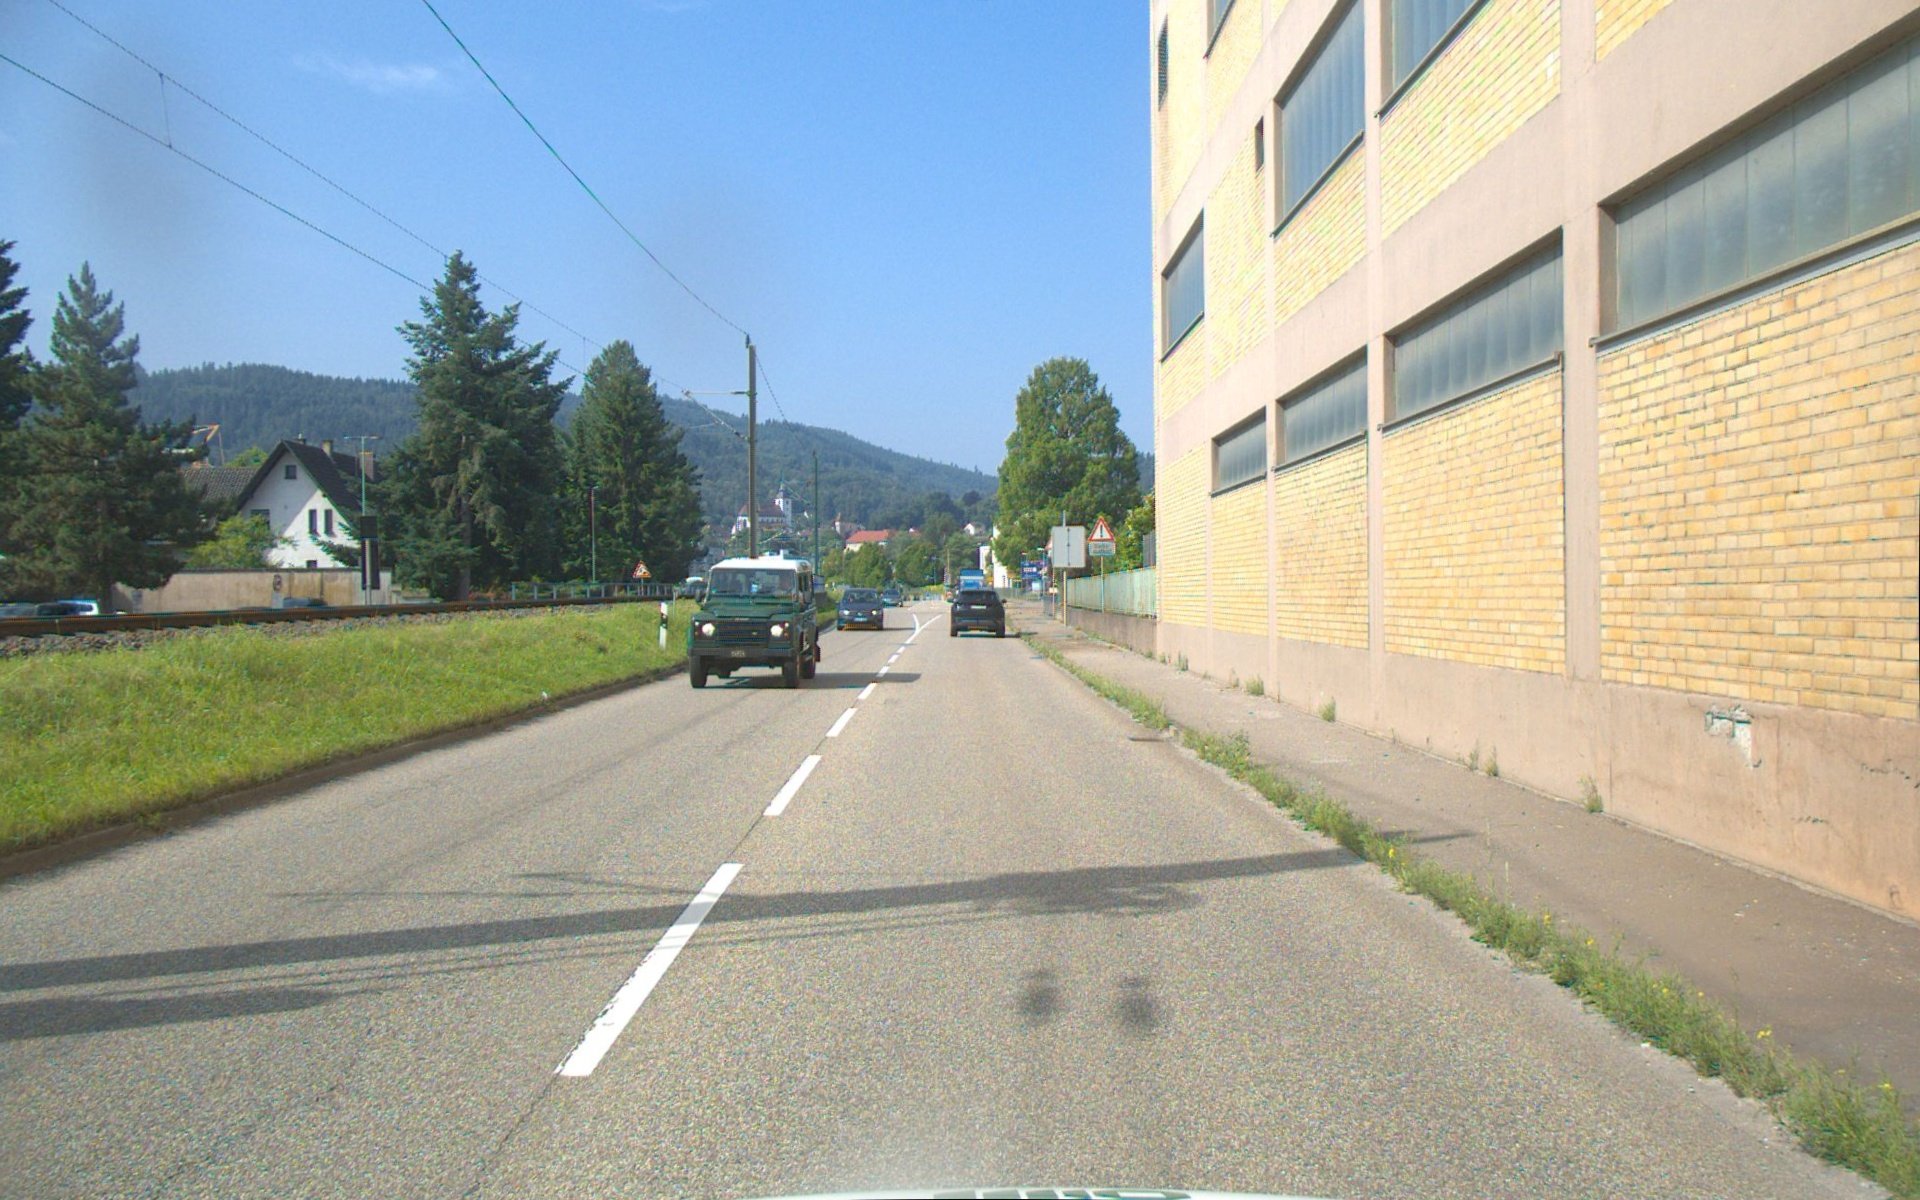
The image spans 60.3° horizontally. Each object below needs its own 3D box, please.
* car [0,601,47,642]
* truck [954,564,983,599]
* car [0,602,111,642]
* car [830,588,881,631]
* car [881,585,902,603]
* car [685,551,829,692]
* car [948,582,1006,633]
[{"bbox_3d":[-38.471,0.845,65.208,3.913,1.563,1.814,0,0,-9],"label":"car"},{"bbox_3d":[0.733,-1.686,146.748,2.266,3.022,5.963,-1,1,-3],"label":"truck"},{"bbox_3d":[-39.345,0.932,71.913,3.913,1.694,1.814,0,0,-9],"label":"car"},{"bbox_3d":[-3.964,0.340,63.025,1.696,1.552,4.092,0,0,0],"label":"car"},{"bbox_3d":[-5.824,-0.536,140.834,1.706,1.533,4.198,0,0,-2],"label":"car"},{"bbox_3d":[-3.279,0.310,27.543,1.722,2.114,4.808,1,0,1],"label":"car"},{"bbox_3d":[0.563,0.235,56.220,1.880,1.668,4.000,0,0,0],"label":"car"}]
